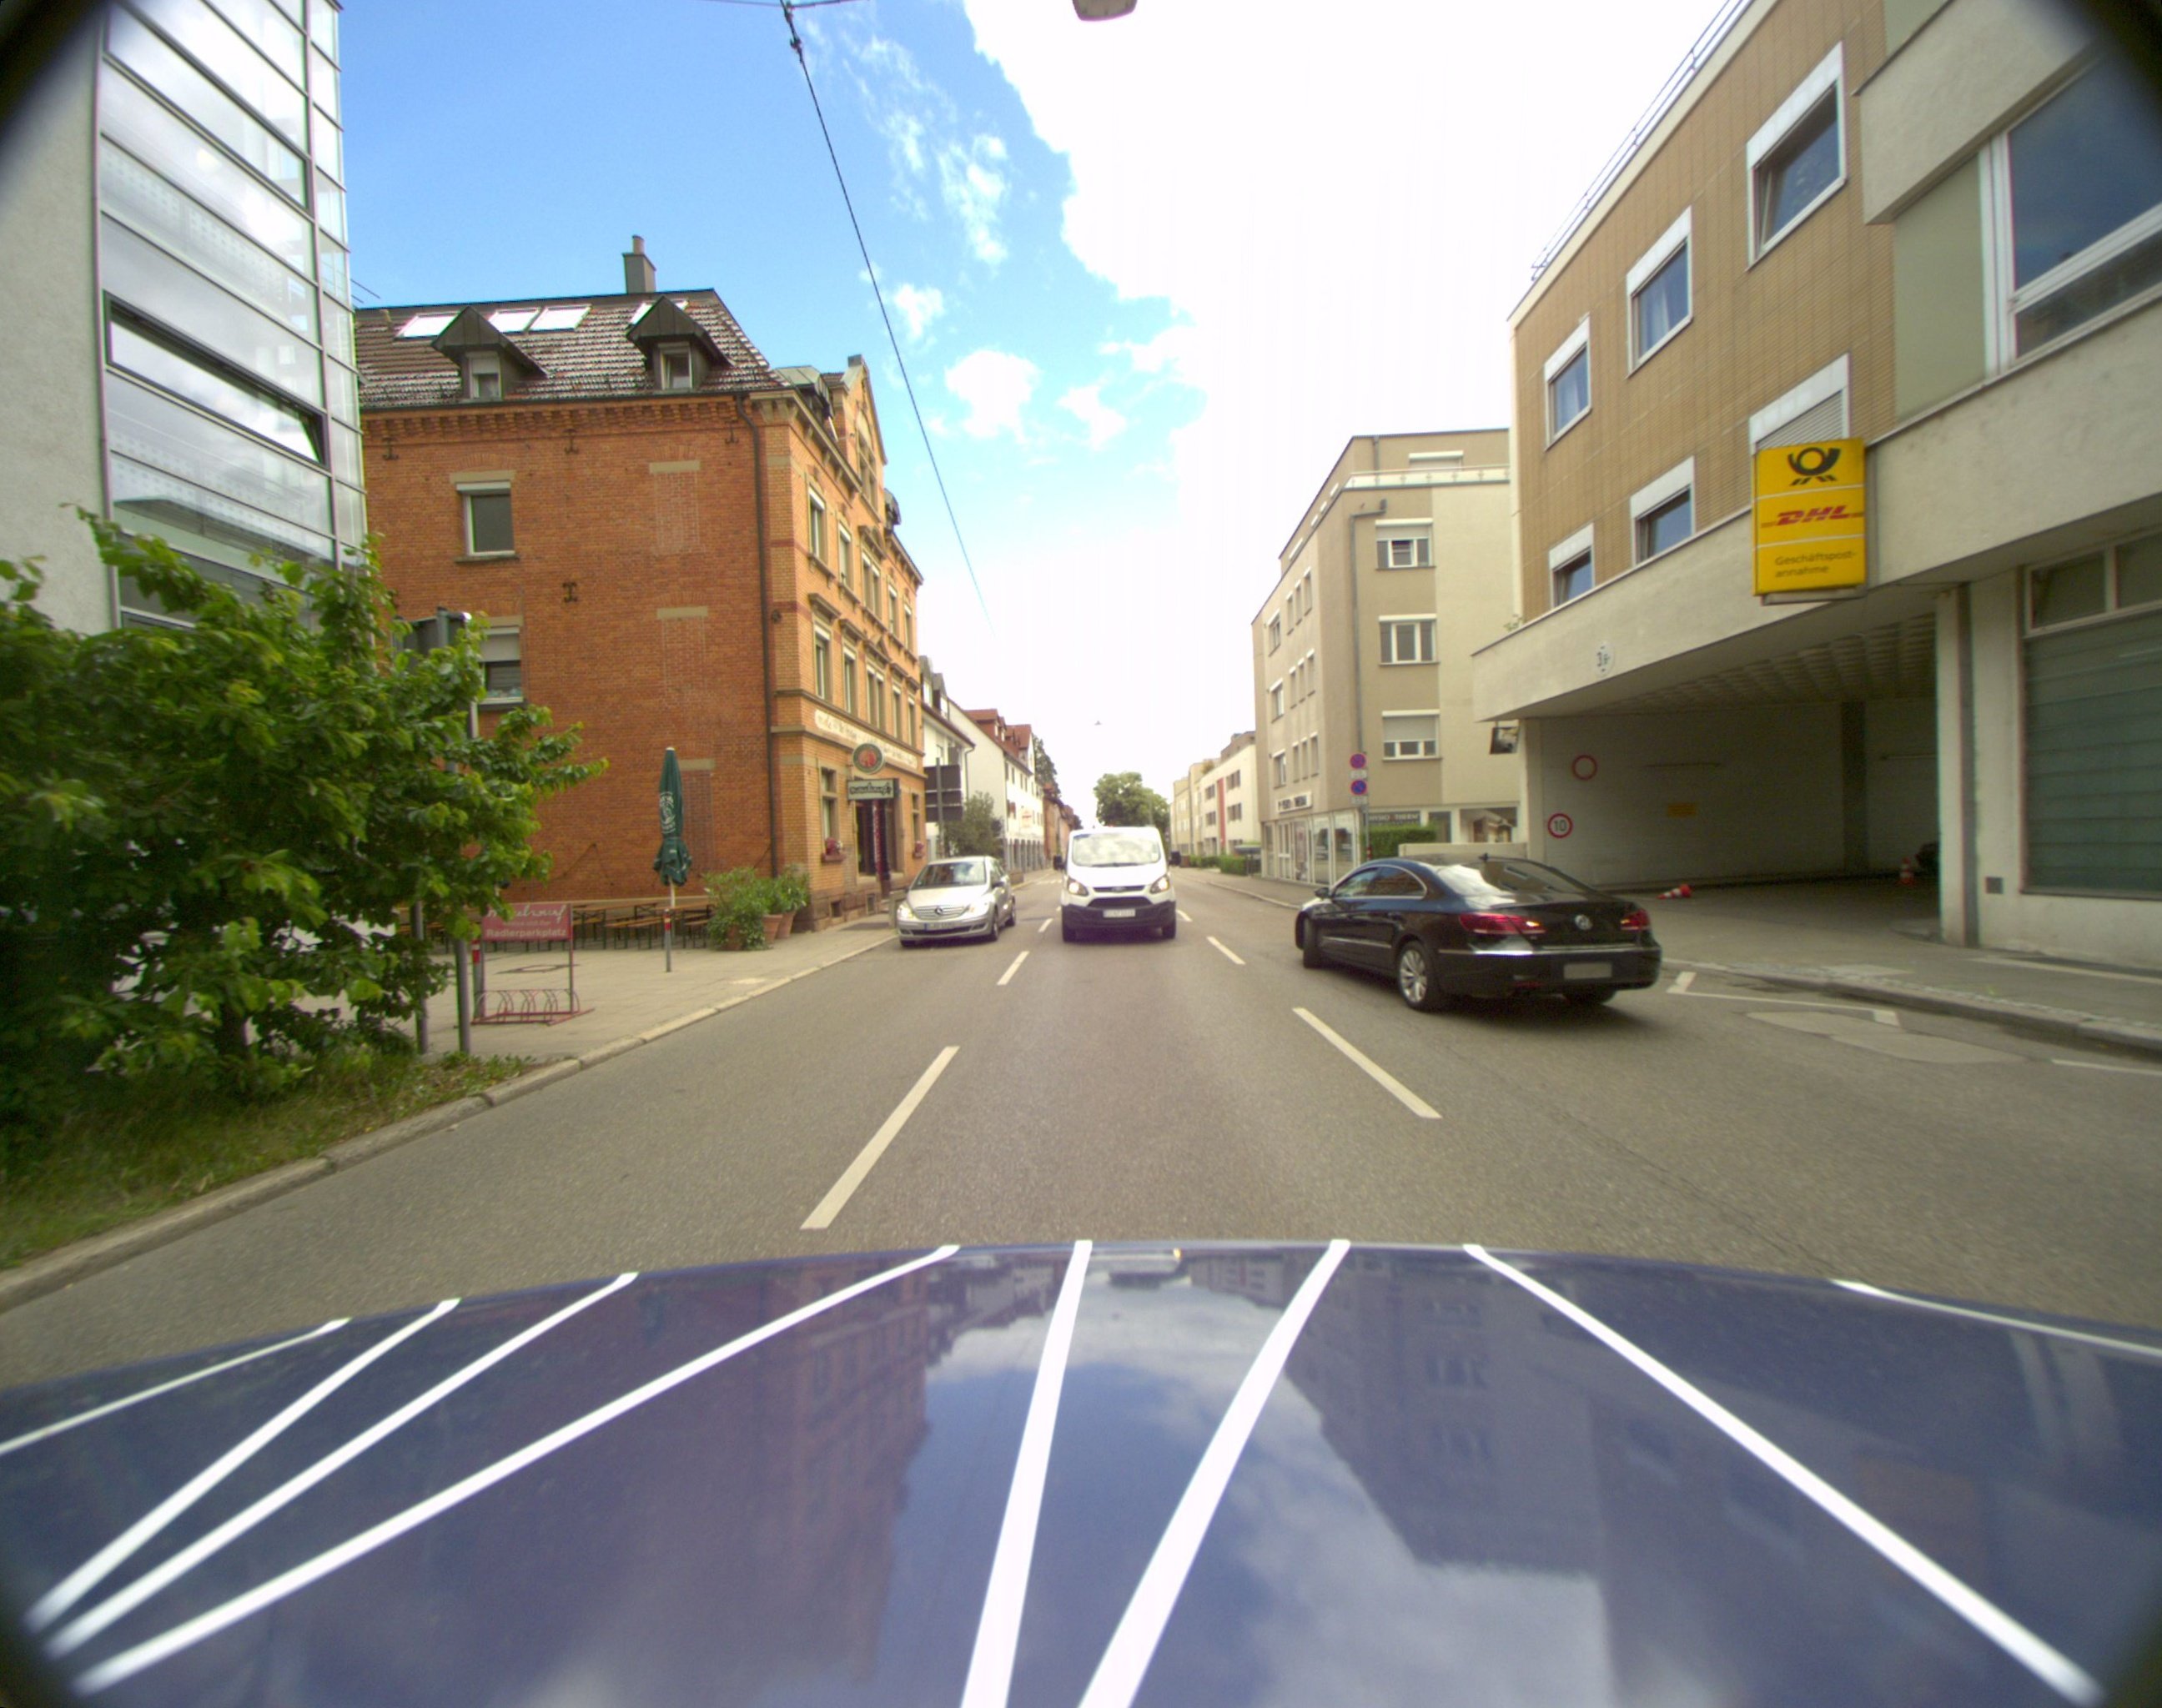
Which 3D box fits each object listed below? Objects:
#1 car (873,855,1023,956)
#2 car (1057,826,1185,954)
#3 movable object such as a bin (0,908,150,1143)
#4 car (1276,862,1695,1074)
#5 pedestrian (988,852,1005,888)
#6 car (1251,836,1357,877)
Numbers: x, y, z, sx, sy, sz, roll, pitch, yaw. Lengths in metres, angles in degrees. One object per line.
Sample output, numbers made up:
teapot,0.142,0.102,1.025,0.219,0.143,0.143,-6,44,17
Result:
car,-2.460,0.891,15.359,1.998,1.537,4.570,-4,0,2
car,0.646,0.560,14.714,1.965,1.986,5.087,-2,0,0
movable object such as a bin,-7.556,1.146,5.024,1.100,1.457,1.333,-1,1,0
car,3.602,0.865,7.864,1.657,1.390,4.451,-3,1,-5
pedestrian,-4.119,0.756,37.106,0.690,1.721,0.649,-2,1,0
car,11.828,0.109,40.595,5.082,1.986,1.966,-2,1,4
